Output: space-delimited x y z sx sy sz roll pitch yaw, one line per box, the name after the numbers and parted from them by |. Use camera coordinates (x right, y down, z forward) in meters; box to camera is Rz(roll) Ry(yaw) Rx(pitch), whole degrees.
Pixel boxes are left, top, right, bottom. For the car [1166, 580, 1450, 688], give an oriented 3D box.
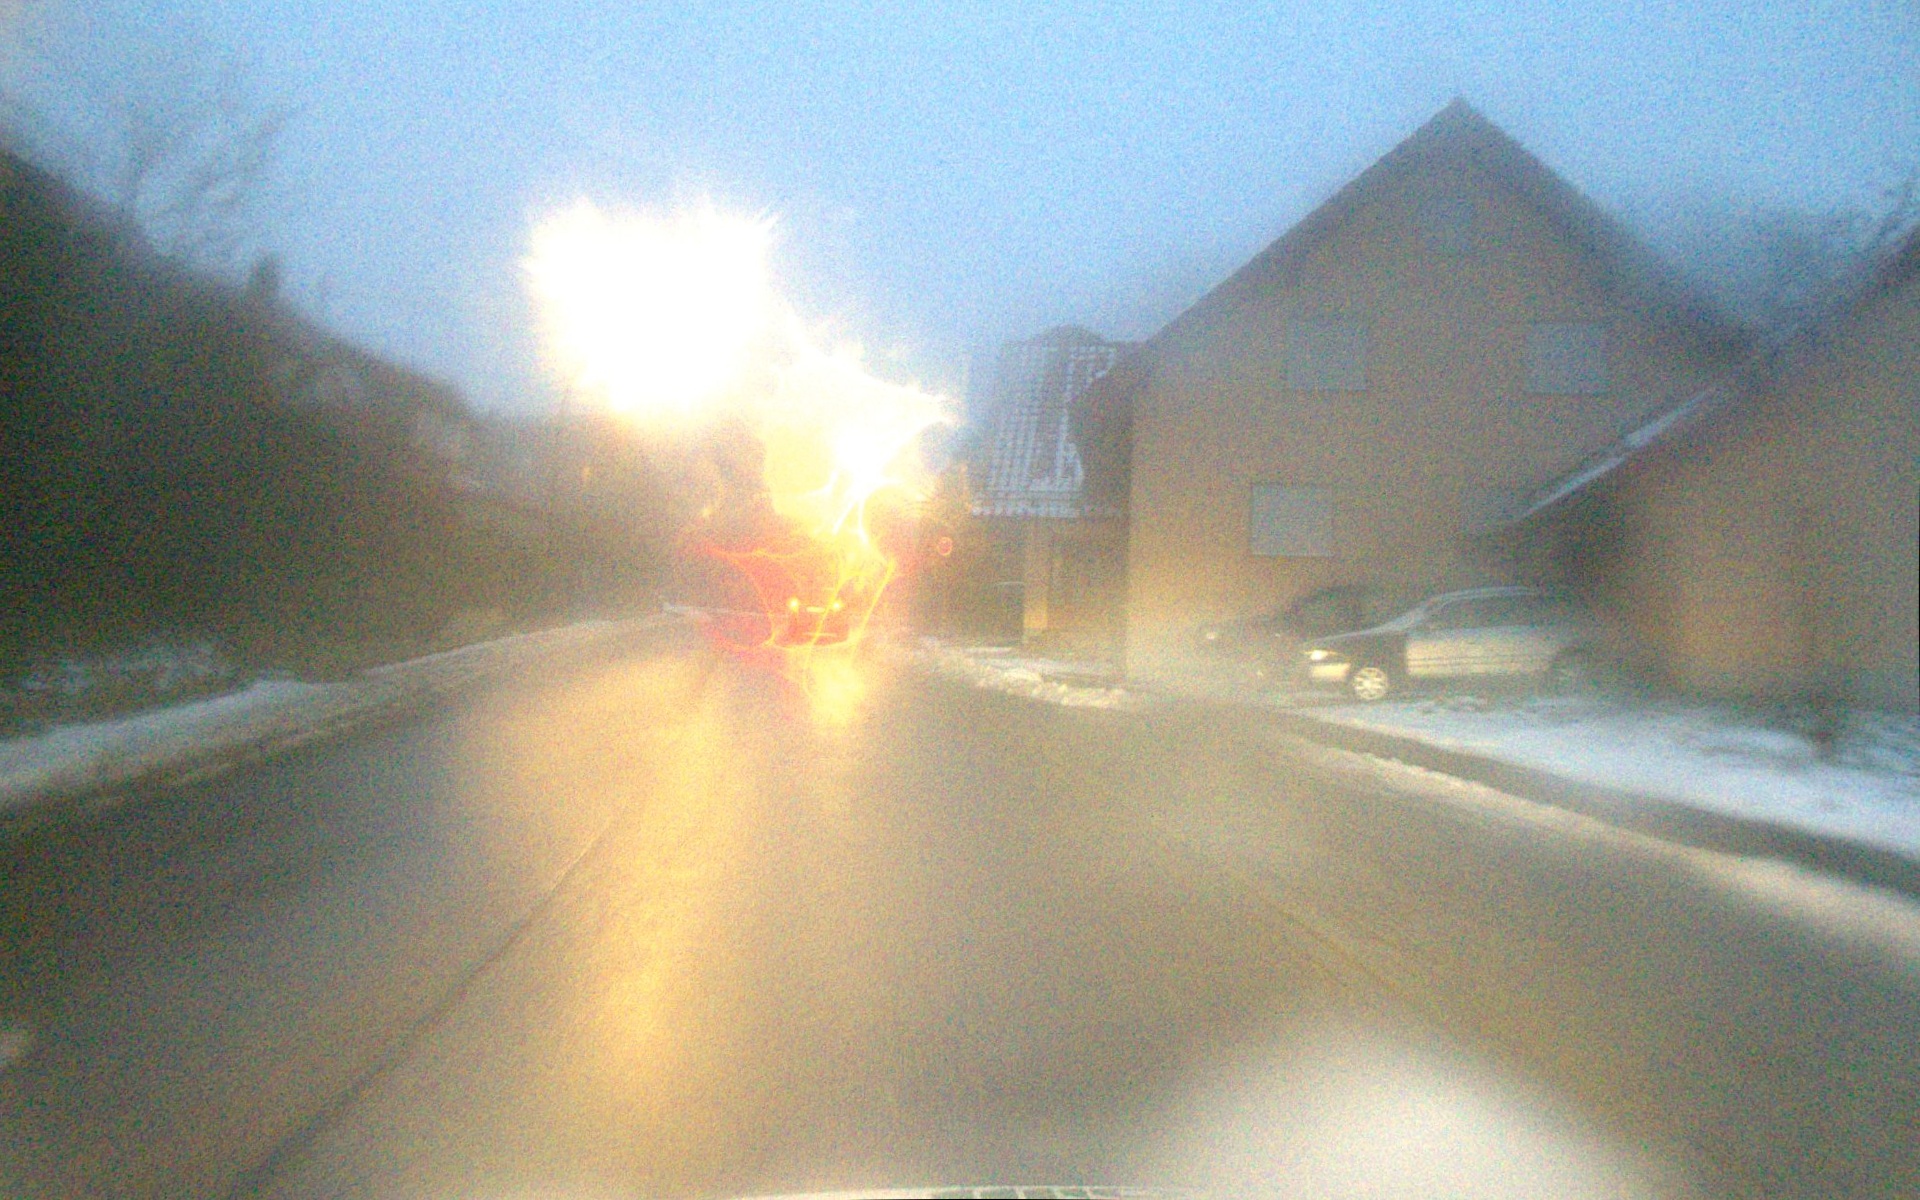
5.337 0.560 25.803 4.071 1.587 1.946 0 -3 3 | car

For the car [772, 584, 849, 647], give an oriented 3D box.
-4.640 0.521 50.905 1.958 1.767 3.867 0 -3 -11 | car

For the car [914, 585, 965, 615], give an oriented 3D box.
-1.147 0.006 95.490 1.951 1.680 4.003 0 -1 14 | car

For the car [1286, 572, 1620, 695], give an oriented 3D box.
6.673 0.504 22.836 4.152 1.587 2.001 -1 -3 8 | car
